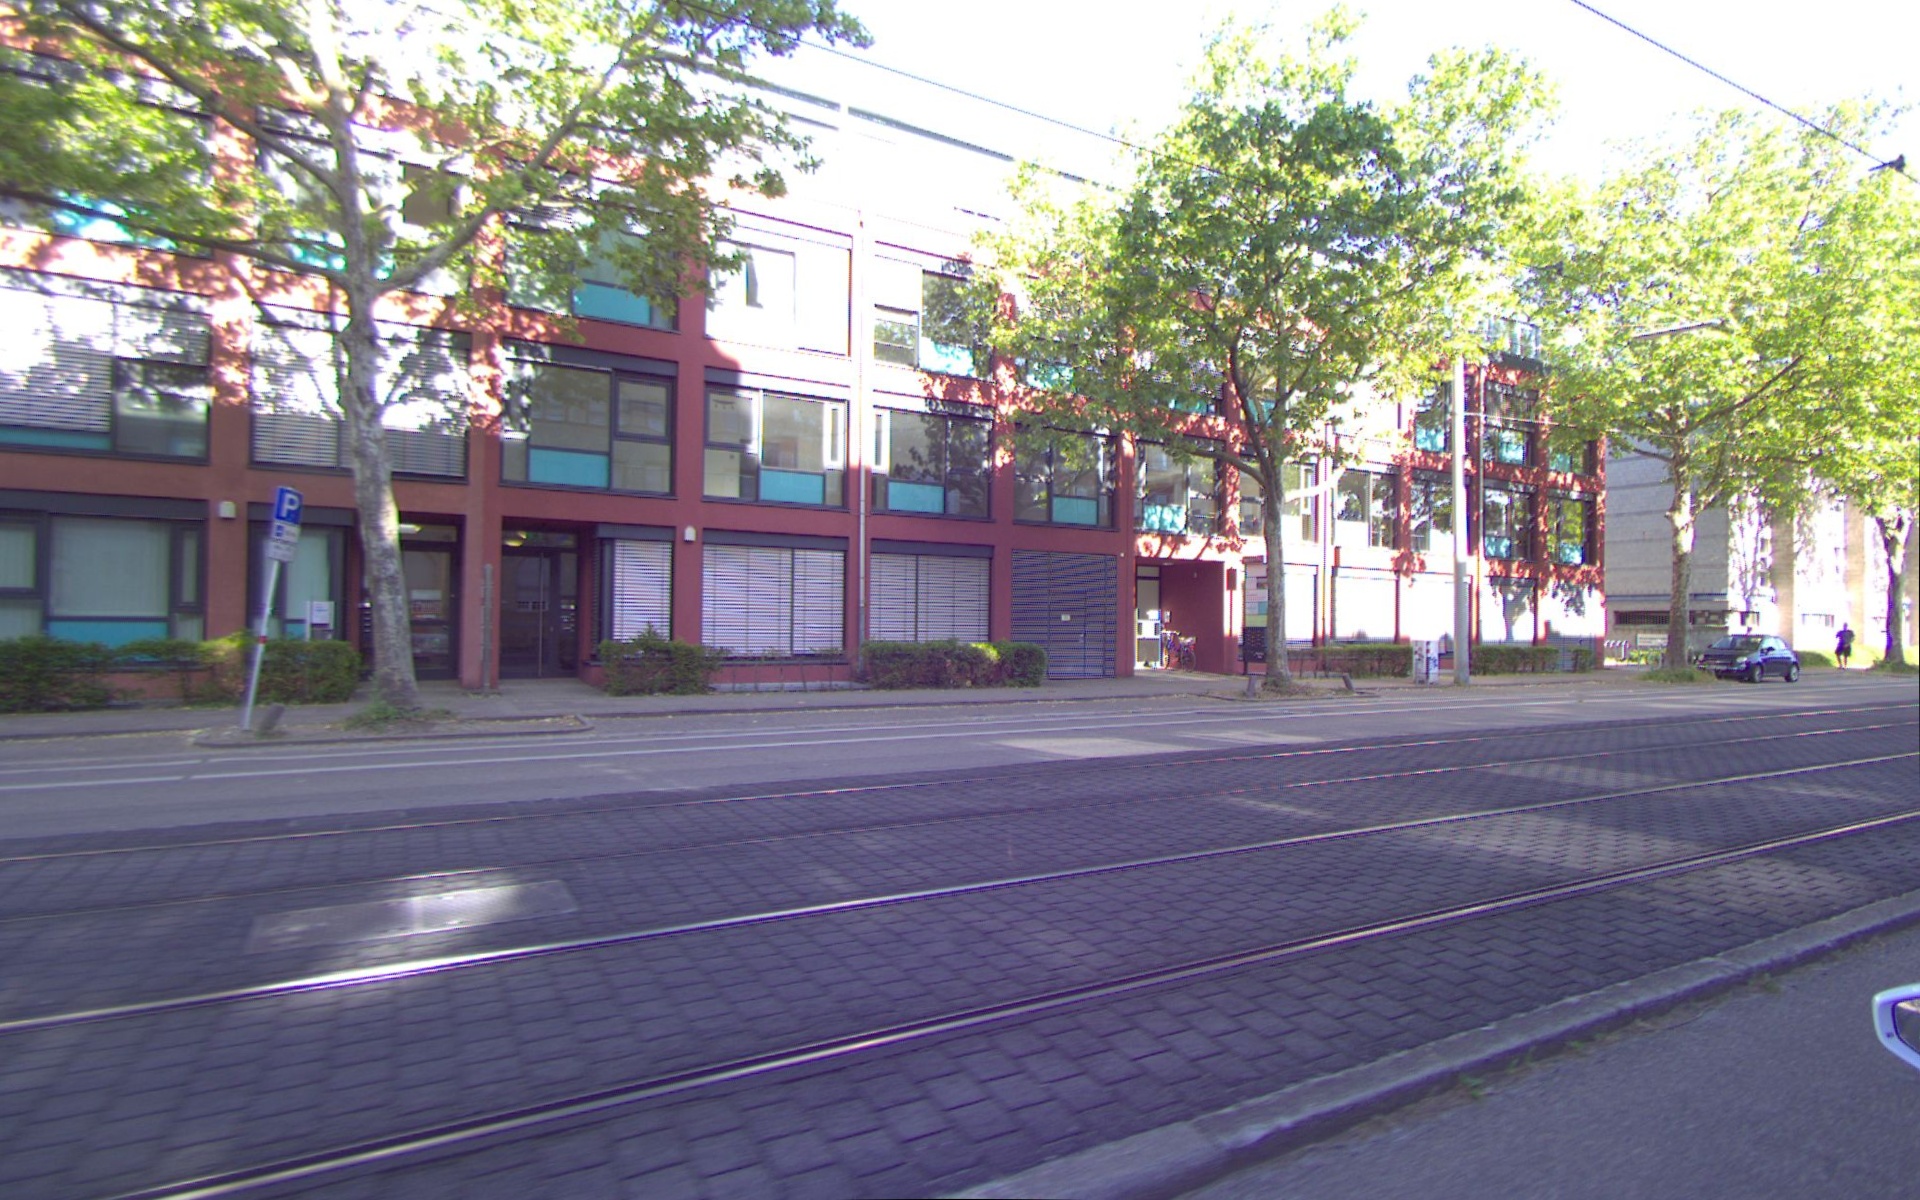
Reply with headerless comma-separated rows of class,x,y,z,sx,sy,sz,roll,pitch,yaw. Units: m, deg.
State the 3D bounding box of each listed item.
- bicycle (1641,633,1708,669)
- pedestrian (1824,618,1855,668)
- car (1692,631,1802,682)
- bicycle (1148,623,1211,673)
bicycle,27.786,1.955,39.095,0.656,1.295,1.999,1,0,-29
pedestrian,34.681,1.691,39.637,0.774,1.895,0.669,2,1,33
car,24.757,1.752,31.583,3.421,1.473,1.501,1,0,-29
bicycle,6.139,1.328,28.214,0.610,1.289,2.055,1,0,-25
